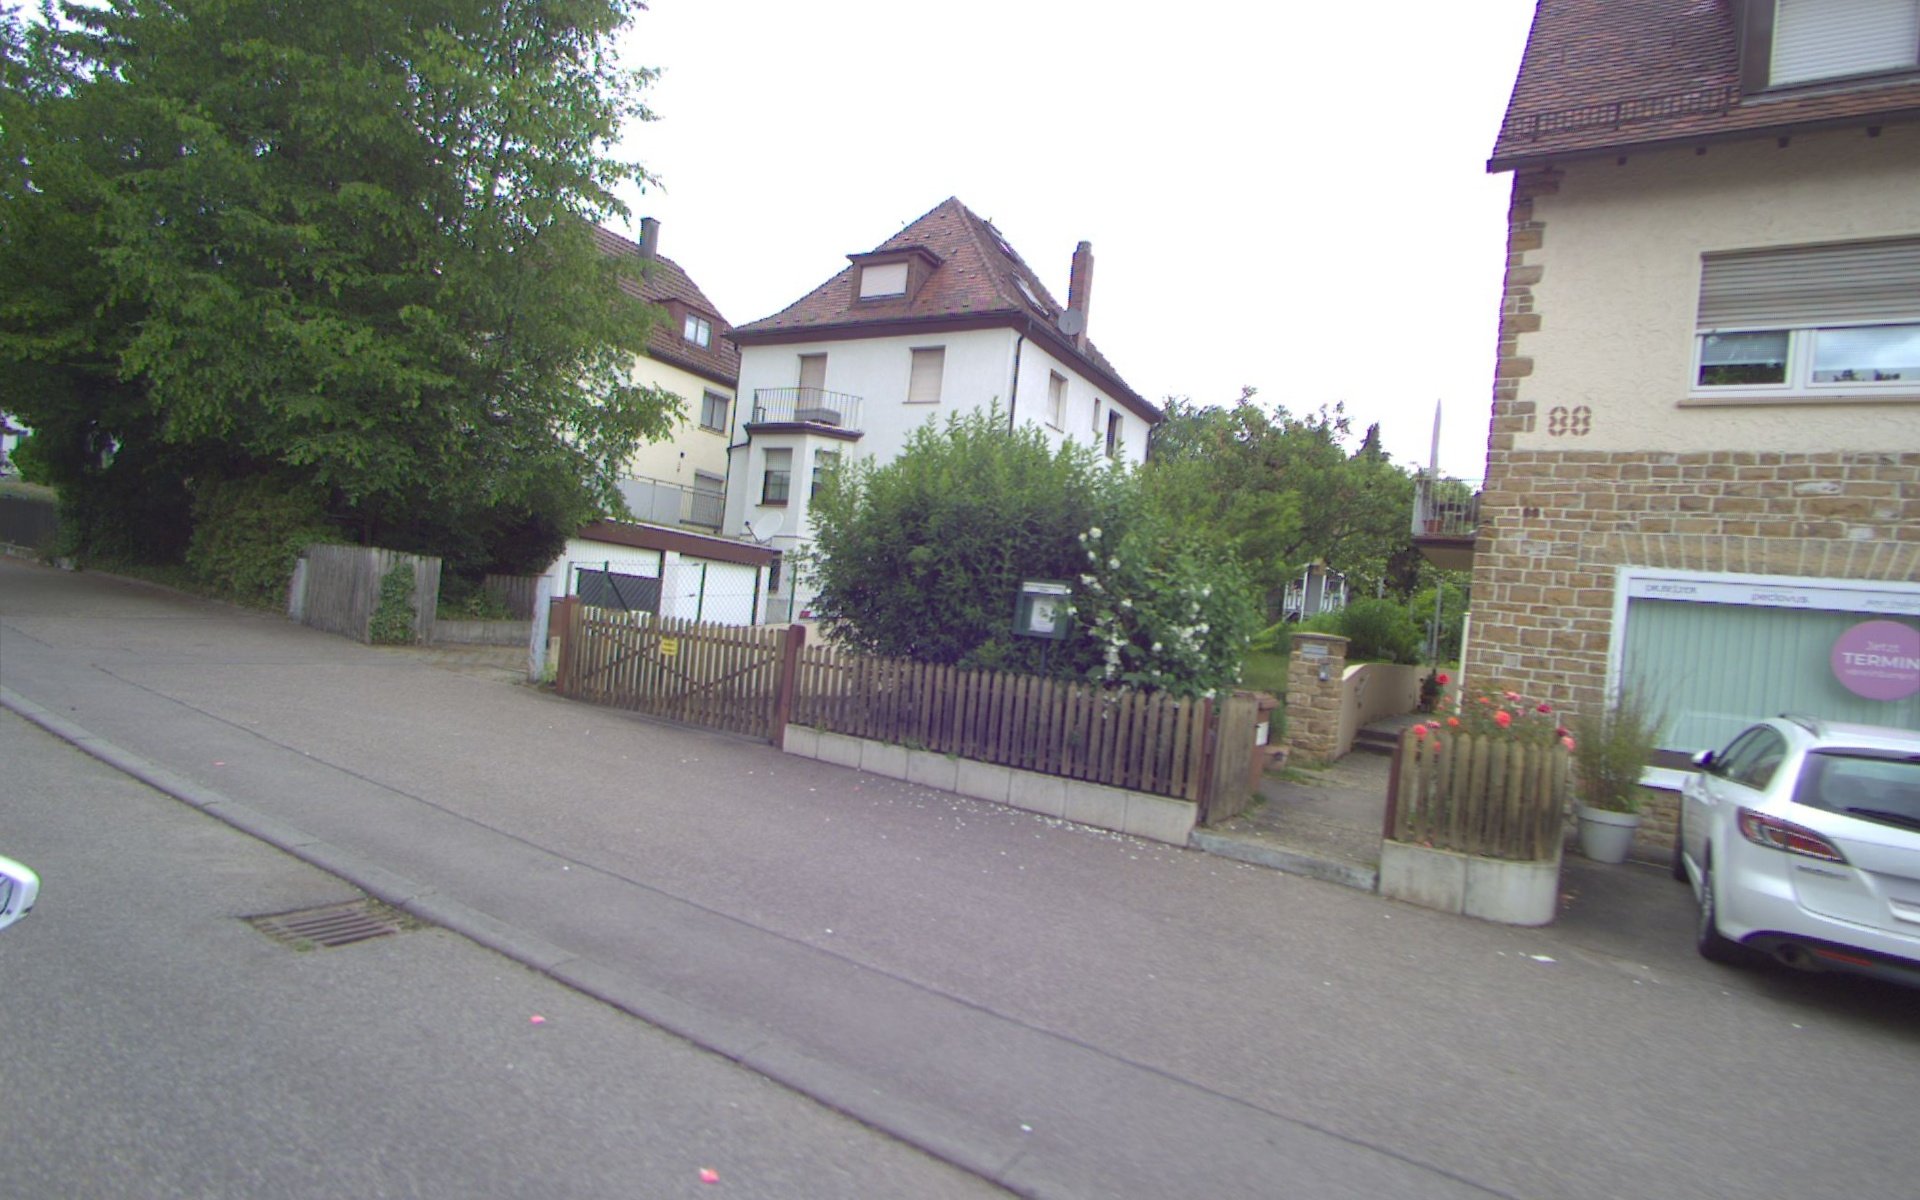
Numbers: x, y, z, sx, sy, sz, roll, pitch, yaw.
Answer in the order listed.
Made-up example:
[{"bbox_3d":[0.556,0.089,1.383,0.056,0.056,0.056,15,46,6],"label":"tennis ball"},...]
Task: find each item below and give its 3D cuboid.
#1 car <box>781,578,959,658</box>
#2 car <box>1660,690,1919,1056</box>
[{"bbox_3d":[-1.764,0.439,21.082,1.804,1.411,4.092,0,-4,27],"label":"car"},{"bbox_3d":[5.748,1.482,6.457,1.835,1.507,4.421,5,0,34],"label":"car"}]
